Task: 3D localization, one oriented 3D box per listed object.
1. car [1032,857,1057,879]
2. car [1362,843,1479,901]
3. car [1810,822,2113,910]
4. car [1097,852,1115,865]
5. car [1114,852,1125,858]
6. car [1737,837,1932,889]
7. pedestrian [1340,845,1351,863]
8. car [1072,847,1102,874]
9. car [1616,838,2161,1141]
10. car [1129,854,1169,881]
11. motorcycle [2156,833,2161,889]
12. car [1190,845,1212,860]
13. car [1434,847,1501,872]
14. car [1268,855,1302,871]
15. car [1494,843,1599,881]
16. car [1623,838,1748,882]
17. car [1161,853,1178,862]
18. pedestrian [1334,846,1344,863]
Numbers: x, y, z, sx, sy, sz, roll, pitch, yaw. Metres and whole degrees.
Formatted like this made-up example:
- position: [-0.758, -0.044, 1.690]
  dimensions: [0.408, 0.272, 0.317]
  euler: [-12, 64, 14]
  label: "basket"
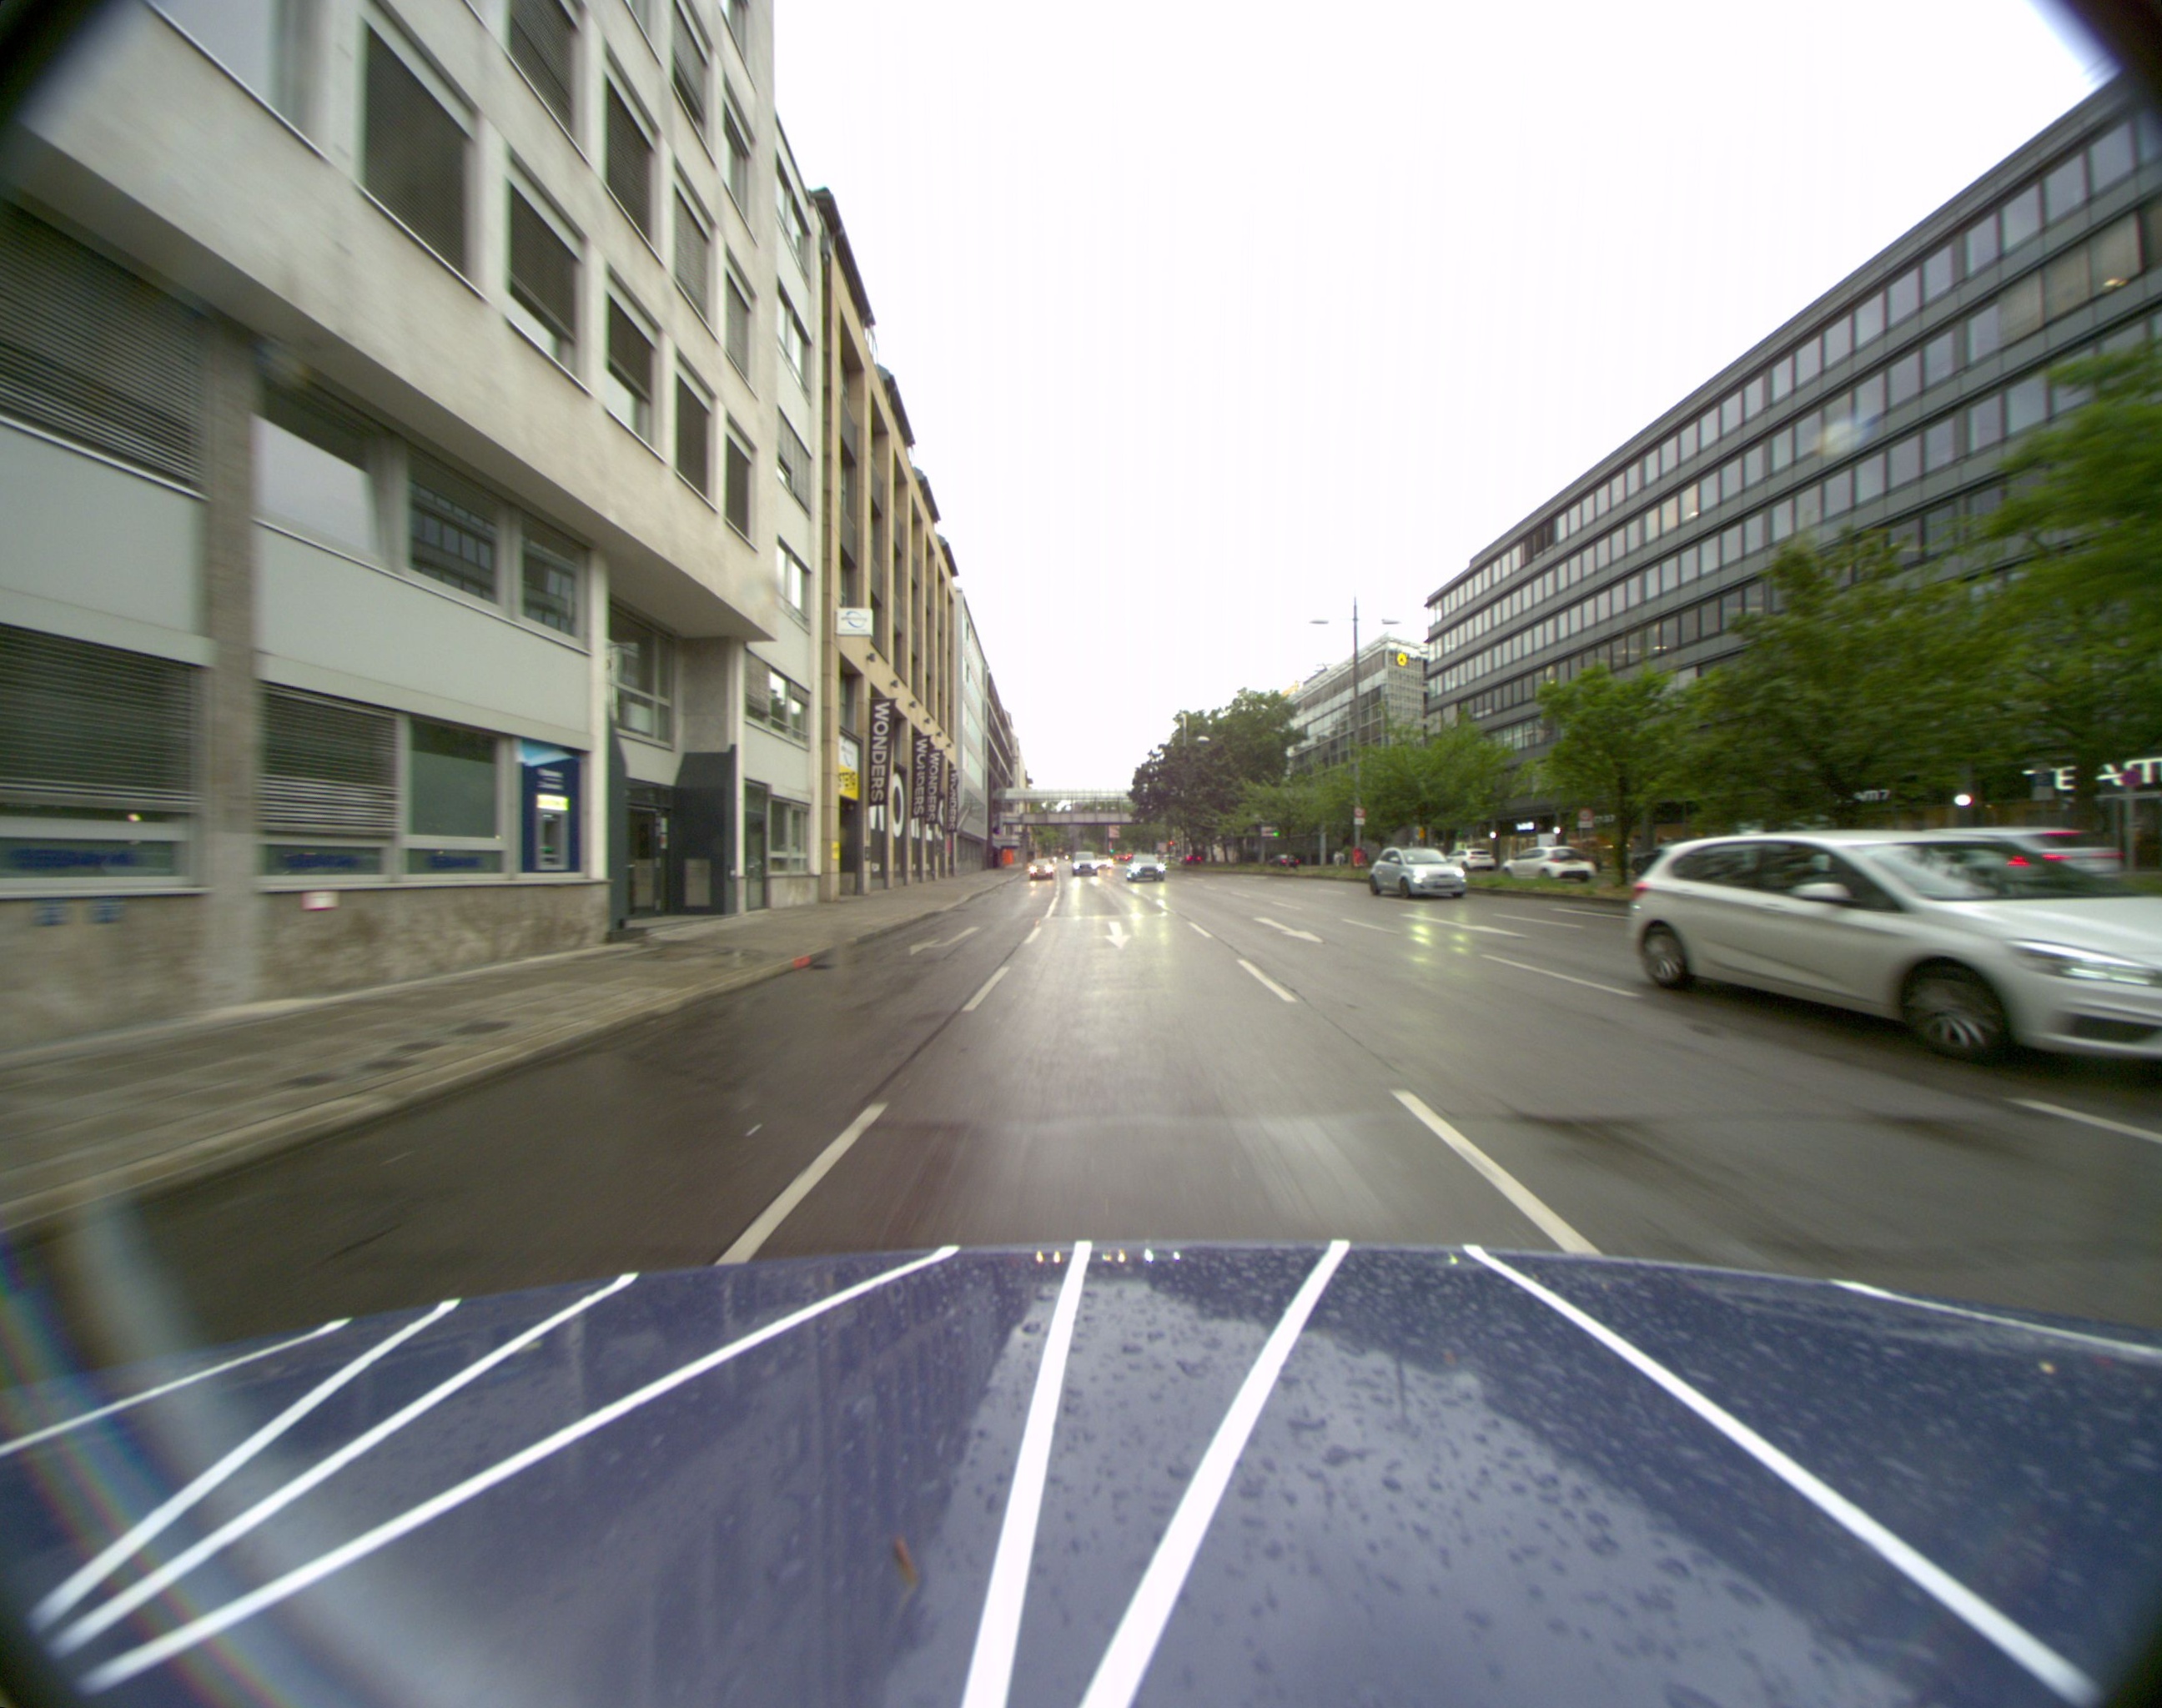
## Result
- position: [-2.603, 0.953, 54.208]
  dimensions: [1.667, 1.464, 3.482]
  euler: [-2, 0, -3]
  label: "car"
- position: [10.137, 0.500, 22.984]
  dimensions: [1.788, 1.564, 3.690]
  euler: [-1, 0, -2]
  label: "car"
- position: [19.934, 0.242, 17.582]
  dimensions: [1.742, 1.718, 4.493]
  euler: [-2, 0, -1]
  label: "car"
- position: [2.740, 0.472, 84.400]
  dimensions: [1.853, 1.434, 3.870]
  euler: [-2, 0, 1]
  label: "car"
- position: [8.380, 0.237, 164.733]
  dimensions: [1.732, 1.303, 4.075]
  euler: [-2, 0, -5]
  label: "car"
- position: [25.594, 0.267, 26.118]
  dimensions: [1.813, 1.477, 4.772]
  euler: [-5, 0, -1]
  label: "car"
- position: [28.134, 0.003, 80.743]
  dimensions: [0.729, 1.822, 0.924]
  euler: [-2, 1, -2]
  label: "pedestrian"
- position: [0.448, 0.517, 61.020]
  dimensions: [2.163, 2.014, 5.040]
  euler: [-2, 0, -1]
  label: "car"
- position: [6.598, 0.690, 6.040]
  dimensions: [1.787, 1.564, 4.288]
  euler: [-1, 0, 2]
  label: "car"
- position: [3.897, 0.734, 44.162]
  dimensions: [1.941, 1.426, 4.287]
  euler: [-1, 0, 0]
  label: "car"
- position: [28.255, 0.146, 18.462]
  dimensions: [0.860, 1.386, 2.364]
  euler: [-5, 2, -28]
  label: "motorcycle"
- position: [15.836, -0.207, 100.592]
  dimensions: [1.814, 1.509, 4.712]
  euler: [-1, 5, -4]
  label: "car"
- position: [24.751, 0.360, 48.788]
  dimensions: [1.814, 1.436, 4.308]
  euler: [-2, 0, -4]
  label: "car"
- position: [19.503, 0.809, 72.690]
  dimensions: [1.814, 1.467, 4.300]
  euler: [-1, 0, -4]
  label: "car"
- position: [19.305, 0.323, 31.718]
  dimensions: [1.687, 1.423, 4.082]
  euler: [-2, 0, -3]
  label: "car"
- position: [25.495, 0.234, 32.262]
  dimensions: [1.813, 1.651, 4.309]
  euler: [-2, 0, 0]
  label: "car"
- position: [13.572, 0.516, 116.878]
  dimensions: [1.732, 1.426, 4.311]
  euler: [-1, 0, -4]
  label: "car"
- position: [27.359, 0.083, 80.565]
  dimensions: [0.729, 1.788, 0.924]
  euler: [-2, 1, -2]
  label: "pedestrian"
